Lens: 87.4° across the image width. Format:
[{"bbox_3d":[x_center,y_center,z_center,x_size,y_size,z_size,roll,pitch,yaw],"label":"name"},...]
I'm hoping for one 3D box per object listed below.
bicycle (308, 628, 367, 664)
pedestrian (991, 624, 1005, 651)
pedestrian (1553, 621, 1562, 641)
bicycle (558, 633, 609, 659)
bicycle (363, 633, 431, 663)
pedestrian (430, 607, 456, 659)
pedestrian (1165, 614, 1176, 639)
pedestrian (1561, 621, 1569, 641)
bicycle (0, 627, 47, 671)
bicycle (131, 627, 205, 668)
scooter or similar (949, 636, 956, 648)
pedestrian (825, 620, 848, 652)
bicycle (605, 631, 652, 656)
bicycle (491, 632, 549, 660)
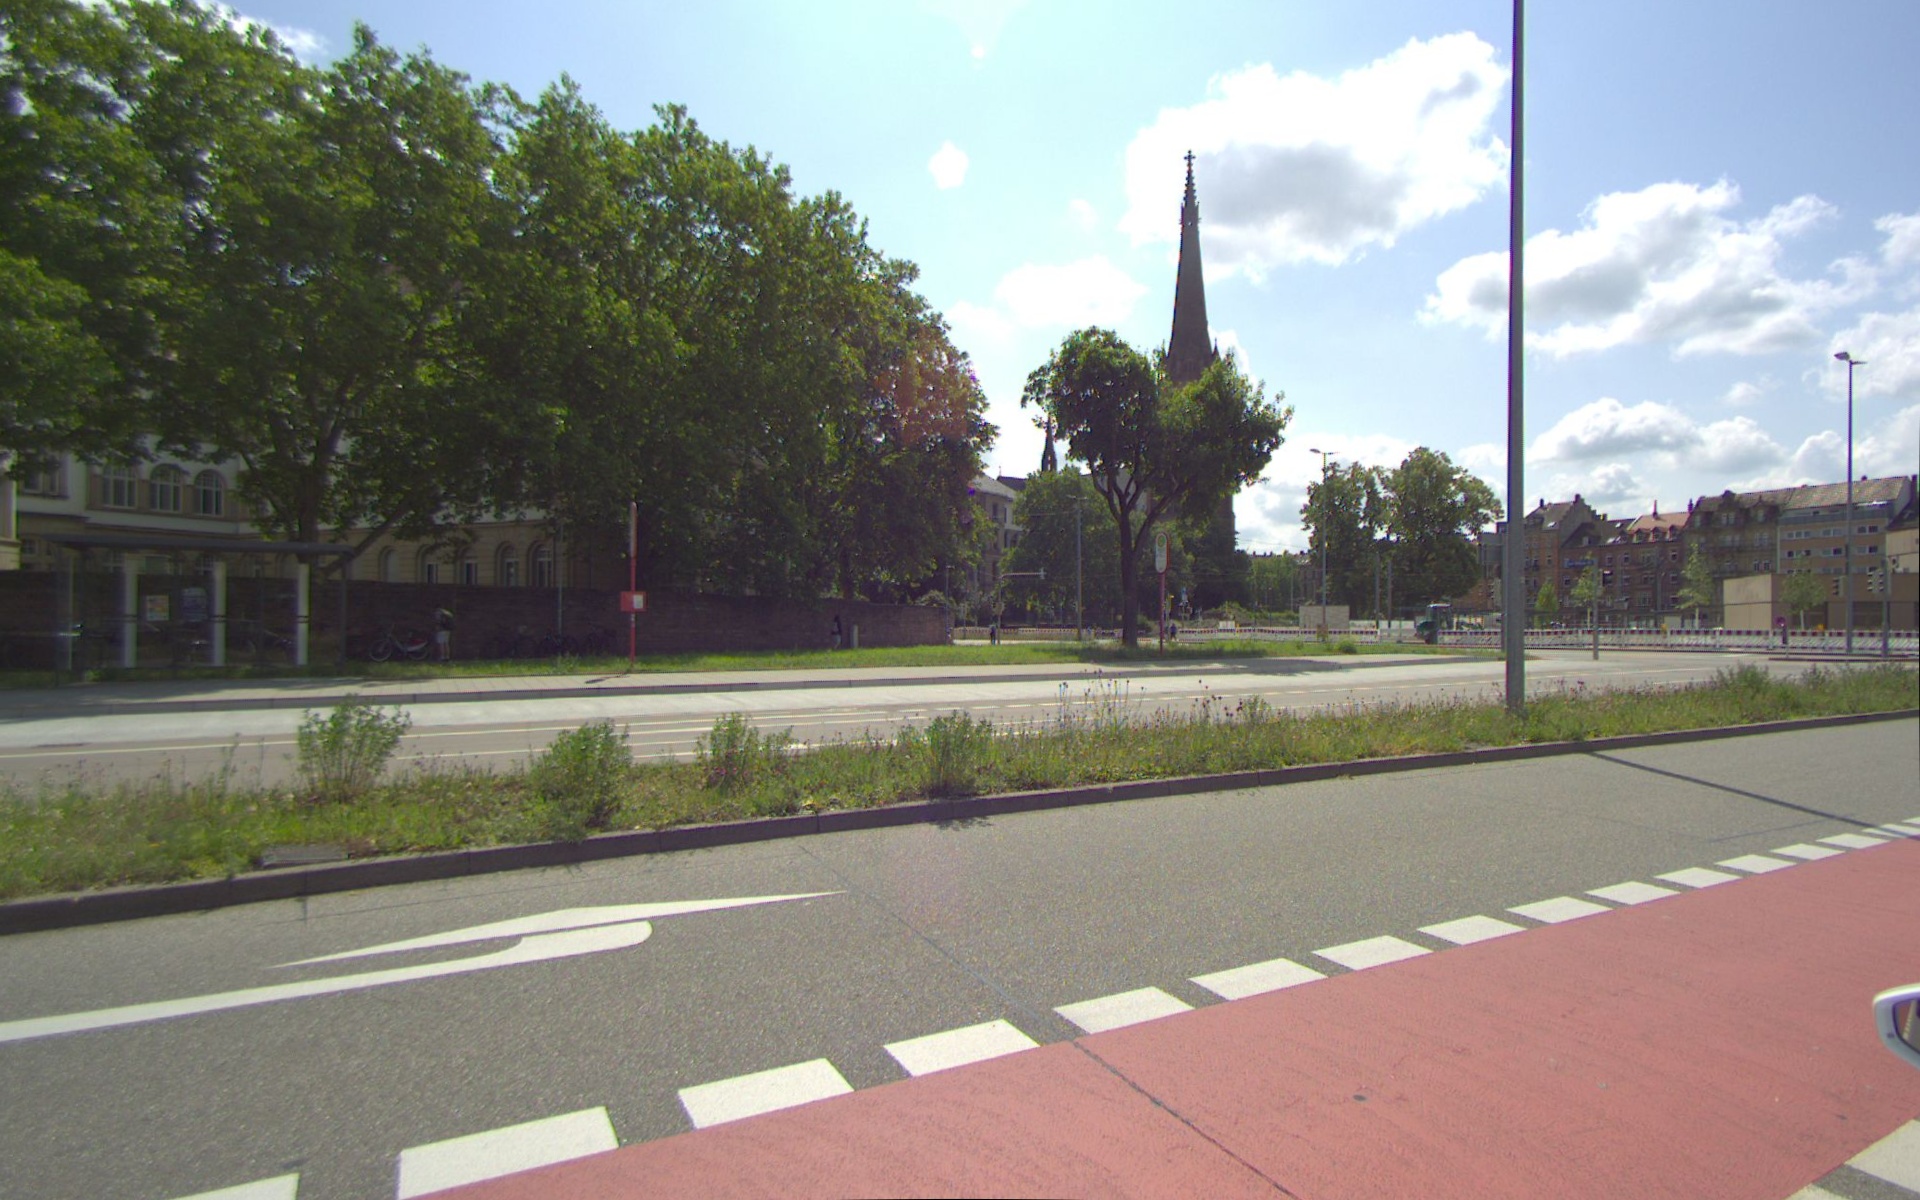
[{"bbox_3d":[-17.154,1.263,27.713,0.260,0.977,1.391,0,-1,36],"label":"bicycle"},{"bbox_3d":[2.826,2.790,74.702,0.713,2.040,0.721,1,-1,-32],"label":"pedestrian"},{"bbox_3d":[51.011,2.621,85.747,0.409,1.674,0.425,2,0,4],"label":"pedestrian"},{"bbox_3d":[-12.774,1.548,34.152,0.324,0.828,1.743,0,-1,36],"label":"bicycle"},{"bbox_3d":[-16.234,1.377,29.010,0.324,0.828,1.743,0,-1,36],"label":"bicycle"},{"bbox_3d":[-15.122,0.966,29.365,0.627,1.492,0.506,1,-1,-32],"label":"pedestrian"},{"bbox_3d":[17.632,2.229,84.147,0.625,2.040,0.643,1,-1,-32],"label":"pedestrian"},{"bbox_3d":[51.109,2.620,84.862,0.409,1.674,0.425,2,0,4],"label":"pedestrian"},{"bbox_3d":[-21.251,1.088,22.322,0.260,0.977,1.391,0,-1,36],"label":"bicycle"},{"bbox_3d":[-19.411,1.155,24.642,0.260,0.977,1.391,0,-1,36],"label":"bicycle"},{"bbox_3d":[-0.432,2.471,58.980,0.117,0.721,1.005,0,-1,17],"label":"scooter or similar"},{"bbox_3d":[-5.394,1.567,43.853,0.720,1.413,0.714,1,-1,-35],"label":"pedestrian"},{"bbox_3d":[-11.770,1.531,35.678,0.324,0.828,1.743,0,-1,36],"label":"bicycle"},{"bbox_3d":[-14.061,1.458,32.131,0.378,0.828,1.743,0,-1,36],"label":"bicycle"}]
